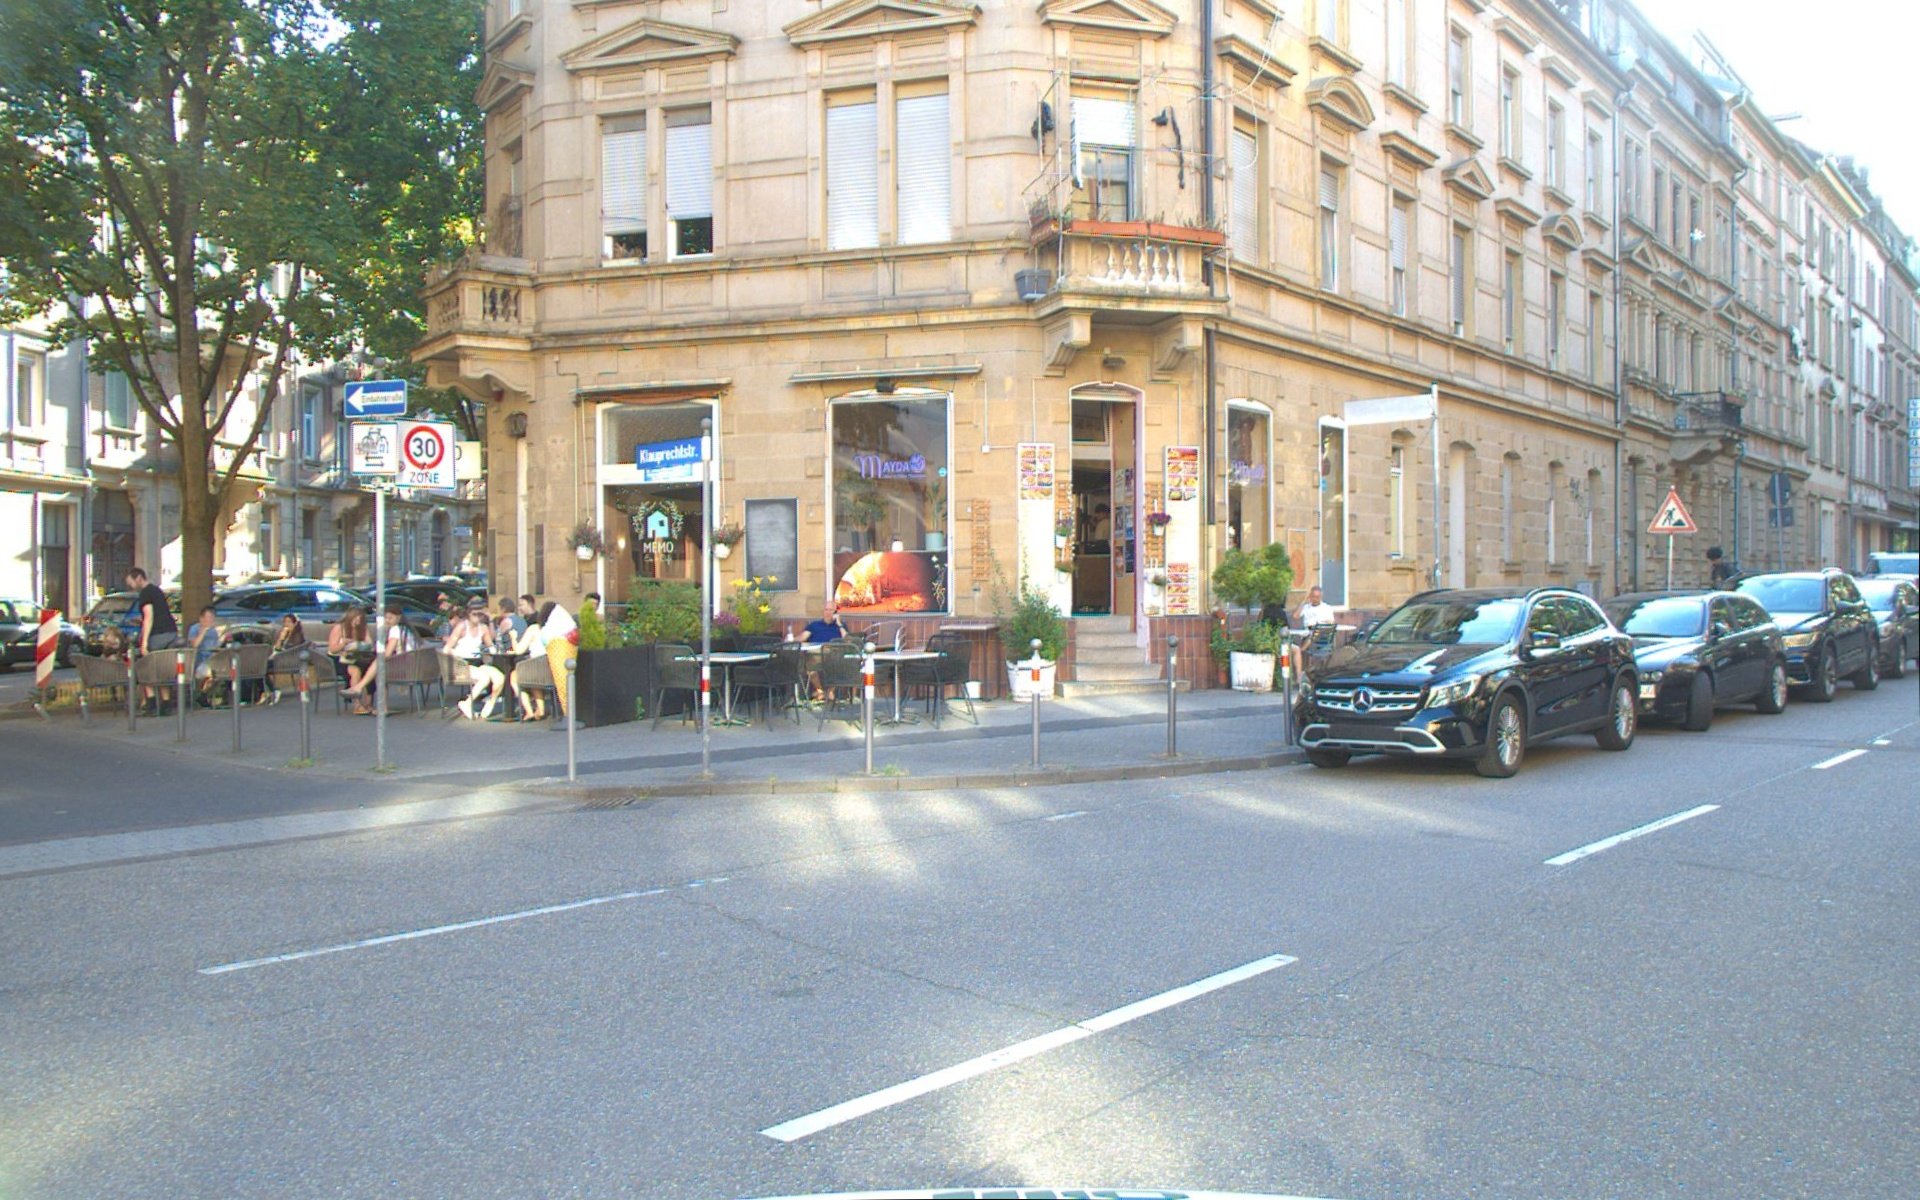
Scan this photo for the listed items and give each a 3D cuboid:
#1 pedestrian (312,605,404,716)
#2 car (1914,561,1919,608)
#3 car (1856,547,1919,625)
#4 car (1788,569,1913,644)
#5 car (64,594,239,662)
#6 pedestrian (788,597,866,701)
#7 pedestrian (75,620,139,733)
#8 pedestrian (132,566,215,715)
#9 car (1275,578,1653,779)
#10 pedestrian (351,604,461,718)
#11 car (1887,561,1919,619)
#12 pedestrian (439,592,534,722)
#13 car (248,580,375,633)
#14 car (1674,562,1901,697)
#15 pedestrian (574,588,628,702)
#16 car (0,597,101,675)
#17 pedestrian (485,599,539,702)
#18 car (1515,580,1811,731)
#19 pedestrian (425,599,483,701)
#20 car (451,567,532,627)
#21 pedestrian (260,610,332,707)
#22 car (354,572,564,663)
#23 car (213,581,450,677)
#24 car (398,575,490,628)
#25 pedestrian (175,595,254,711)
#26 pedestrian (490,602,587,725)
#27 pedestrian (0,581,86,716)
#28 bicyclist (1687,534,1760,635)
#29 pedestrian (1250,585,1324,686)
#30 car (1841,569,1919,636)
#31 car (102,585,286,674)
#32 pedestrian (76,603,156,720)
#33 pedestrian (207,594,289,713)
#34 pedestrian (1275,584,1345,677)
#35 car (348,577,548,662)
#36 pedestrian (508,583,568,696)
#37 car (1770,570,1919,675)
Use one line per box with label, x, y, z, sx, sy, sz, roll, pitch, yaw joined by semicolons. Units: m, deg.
pedestrian;-7.208;0.706;19.809;0.692;1.270;0.747;0;1;34
car;32.782;-0.527;54.758;1.728;1.492;3.987;2;2;35
car;25.509;-0.418;44.505;1.801;1.977;5.240;2;2;36
car;19.596;0.121;36.322;1.730;1.527;4.041;-2;0;38
car;-17.809;0.588;36.623;1.883;1.400;3.753;-1;0;2
pedestrian;-1.624;0.588;20.214;0.710;1.235;0.757;-1;0;17
pedestrian;-10.498;0.931;20.355;0.567;1.343;0.497;-2;1;-43
pedestrian;-9.747;0.494;20.505;0.760;1.801;0.563;-2;0;-41
car;4.608;0.594;14.737;1.732;1.514;4.117;-1;0;40
pedestrian;-6.467;0.694;19.313;1.003;1.270;0.747;0;1;34
car;28.921;-0.333;49.330;1.724;1.636;4.367;2;2;36
pedestrian;-5.363;0.629;18.758;0.739;1.435;0.727;-1;0;25
car;-17.868;0.158;45.763;1.883;1.400;3.753;-1;0;2
car;11.383;0.337;22.586;1.732;1.628;4.526;-2;0;40
pedestrian;-4.472;0.557;20.618;0.471;1.391;0.433;-1;1;28
car;-18.296;0.666;31.389;1.883;1.400;3.753;-1;0;2
pedestrian;-5.655;0.625;20.880;0.472;1.270;0.432;0;1;34
car;8.051;0.550;18.713;1.732;1.477;4.524;-2;0;41
pedestrian;-6.526;0.636;21.329;0.472;1.270;0.509;0;1;34
car;-17.339;-0.127;61.315;1.769;2.121;3.753;-1;0;2
pedestrian;-8.832;0.768;21.984;0.672;1.237;0.657;-2;0;-43
car;-10.011;0.319;33.323;3.920;1.713;1.992;-1;0;-15
car;-11.245;0.477;29.622;3.782;1.589;1.786;-1;0;-29
car;-17.427;0.029;56.024;1.769;1.713;3.753;-1;0;2
pedestrian;-9.823;0.688;21.804;0.760;1.467;0.658;-2;0;-41
pedestrian;-4.662;0.686;18.330;0.728;1.312;0.742;-1;0;27
pedestrian;-11.865;0.620;21.357;0.654;1.699;0.764;-2;0;35
bicyclist;14.150;-0.283;30.642;0.979;1.821;1.202;0;-1;37
pedestrian;4.279;0.457;21.623;0.713;1.281;0.754;-1;0;34
car;22.471;0.016;39.850;1.567;1.500;3.683;2;2;38
car;-15.876;0.566;34.522;1.952;1.713;4.000;-1;0;0
pedestrian;-10.746;0.775;21.060;0.760;1.437;0.658;-2;0;-39
pedestrian;-9.090;0.675;21.110;0.760;1.467;0.658;-2;0;-41
pedestrian;4.800;0.408;22.669;0.713;1.235;0.754;0;0;34
car;-11.088;0.382;35.793;3.935;1.713;1.985;-1;0;-24
pedestrian;-5.547;0.509;21.743;0.556;1.456;0.482;-1;1;26
car;14.508;0.321;26.653;1.731;1.527;4.040;-2;0;39
